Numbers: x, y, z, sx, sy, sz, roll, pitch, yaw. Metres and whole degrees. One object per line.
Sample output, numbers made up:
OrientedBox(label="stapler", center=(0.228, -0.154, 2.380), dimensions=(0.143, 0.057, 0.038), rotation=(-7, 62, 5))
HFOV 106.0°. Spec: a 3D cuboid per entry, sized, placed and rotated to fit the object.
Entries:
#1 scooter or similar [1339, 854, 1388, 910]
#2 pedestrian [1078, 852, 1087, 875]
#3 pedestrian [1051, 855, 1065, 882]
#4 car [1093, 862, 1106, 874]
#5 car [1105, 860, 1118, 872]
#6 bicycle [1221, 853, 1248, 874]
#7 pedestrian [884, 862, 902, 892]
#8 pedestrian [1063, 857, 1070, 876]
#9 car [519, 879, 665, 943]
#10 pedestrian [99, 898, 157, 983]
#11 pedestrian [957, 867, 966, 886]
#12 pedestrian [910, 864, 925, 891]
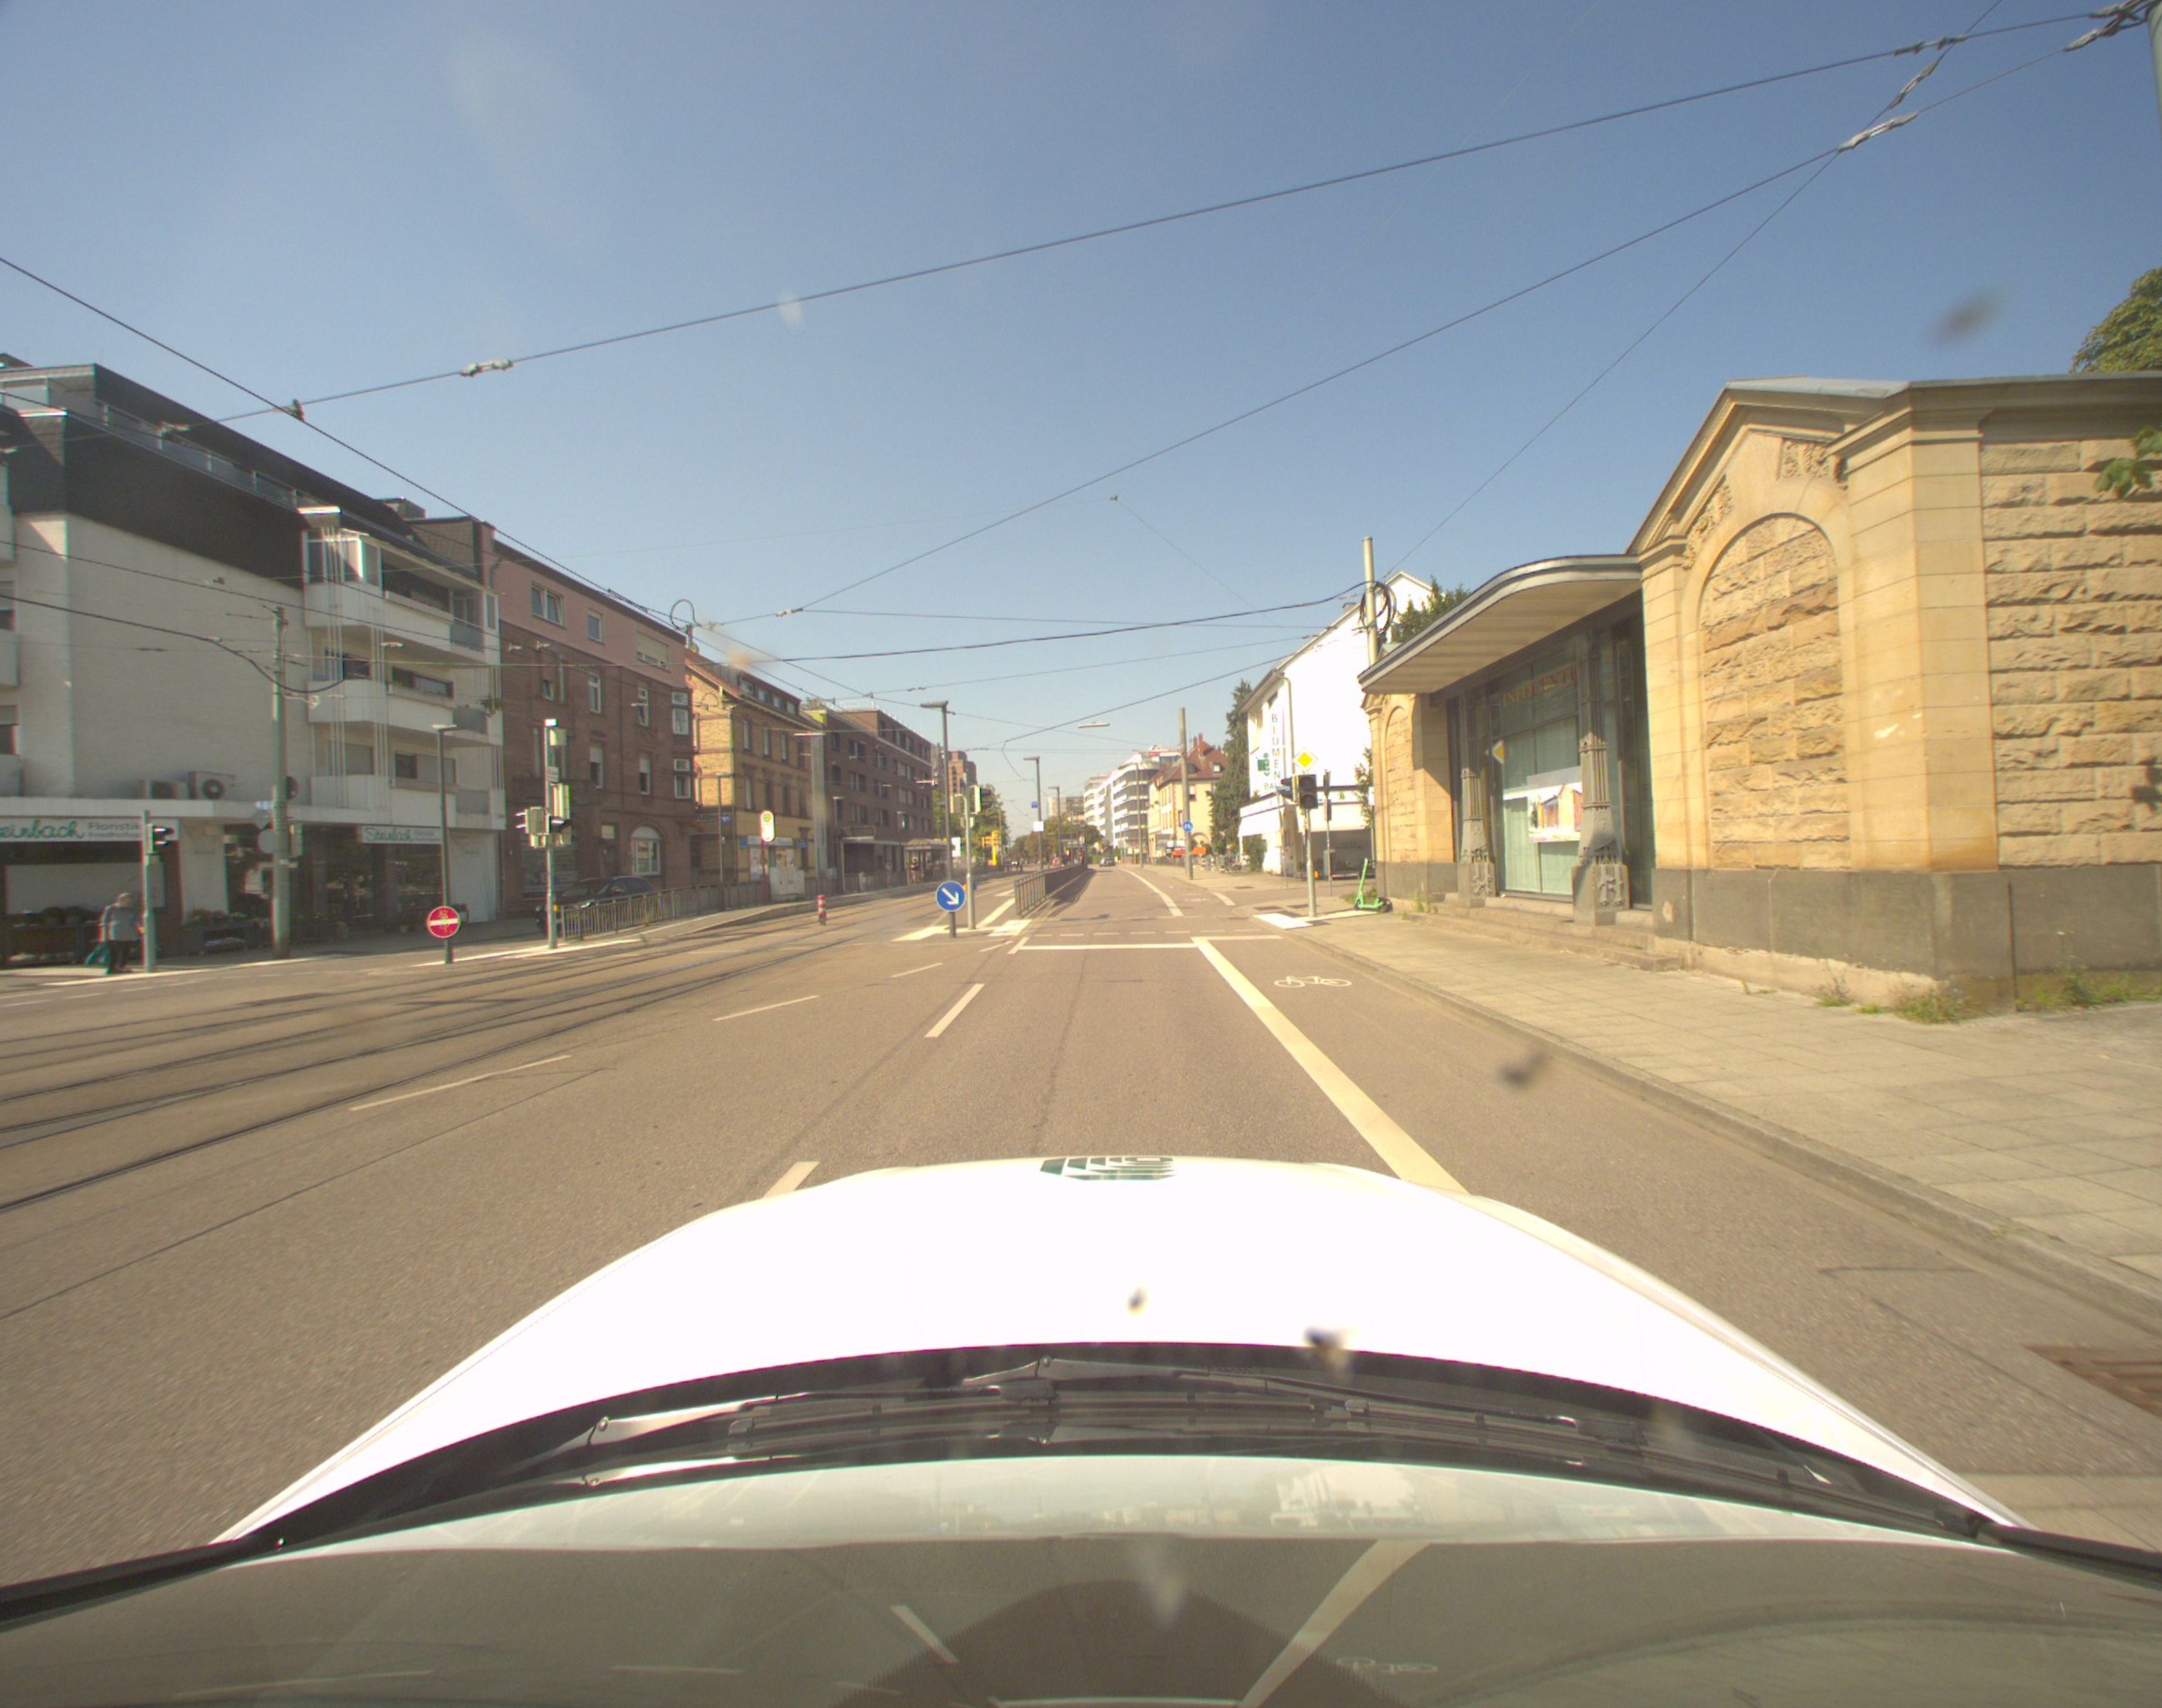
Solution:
OrientedBox(label="scooter or similar", center=(6.124, 0.600, 17.738), dimensions=(0.521, 1.133, 1.512), rotation=(-4, -1, 3))
OrientedBox(label="pedestrian", center=(0.134, 0.717, 63.114), dimensions=(0.535, 1.703, 0.582), rotation=(-4, -1, -1))
OrientedBox(label="pedestrian", center=(-1.530, 0.920, 53.295), dimensions=(0.717, 1.703, 0.885), rotation=(-4, -1, 3))
OrientedBox(label="car", center=(3.301, 2.515, 144.758), dimensions=(2.003, 1.859, 4.003), rotation=(-4, -1, 3))
OrientedBox(label="car", center=(5.258, 1.984, 138.589), dimensions=(2.003, 1.859, 4.003), rotation=(-4, -1, 3))
OrientedBox(label="bicycle", center=(9.091, 0.559, 48.238), dimensions=(0.730, 1.132, 2.834), rotation=(-6, -1, -5))
OrientedBox(label="pedestrian", center=(-11.048, 1.362, 47.869), dimensions=(0.705, 1.723, 0.799), rotation=(-4, -1, 2))
OrientedBox(label="pedestrian", center=(-1.385, 1.157, 76.380), dimensions=(0.535, 1.703, 0.582), rotation=(-4, -1, -1))
OrientedBox(label="car", center=(-15.278, 1.723, 25.752), dimensions=(1.806, 1.654, 4.251), rotation=(-4, -1, 2))
OrientedBox(label="pedestrian", center=(-20.529, 1.843, 17.551), dimensions=(0.602, 1.745, 0.560), rotation=(-4, -1, -32))
OrientedBox(label="pedestrian", center=(-9.709, 1.840, 66.156), dimensions=(0.531, 1.530, 0.700), rotation=(-4, -1, -4))
OrientedBox(label="pedestrian", center=(-10.921, 1.563, 54.420), dimensions=(0.705, 1.747, 0.799), rotation=(-4, -1, 2))
